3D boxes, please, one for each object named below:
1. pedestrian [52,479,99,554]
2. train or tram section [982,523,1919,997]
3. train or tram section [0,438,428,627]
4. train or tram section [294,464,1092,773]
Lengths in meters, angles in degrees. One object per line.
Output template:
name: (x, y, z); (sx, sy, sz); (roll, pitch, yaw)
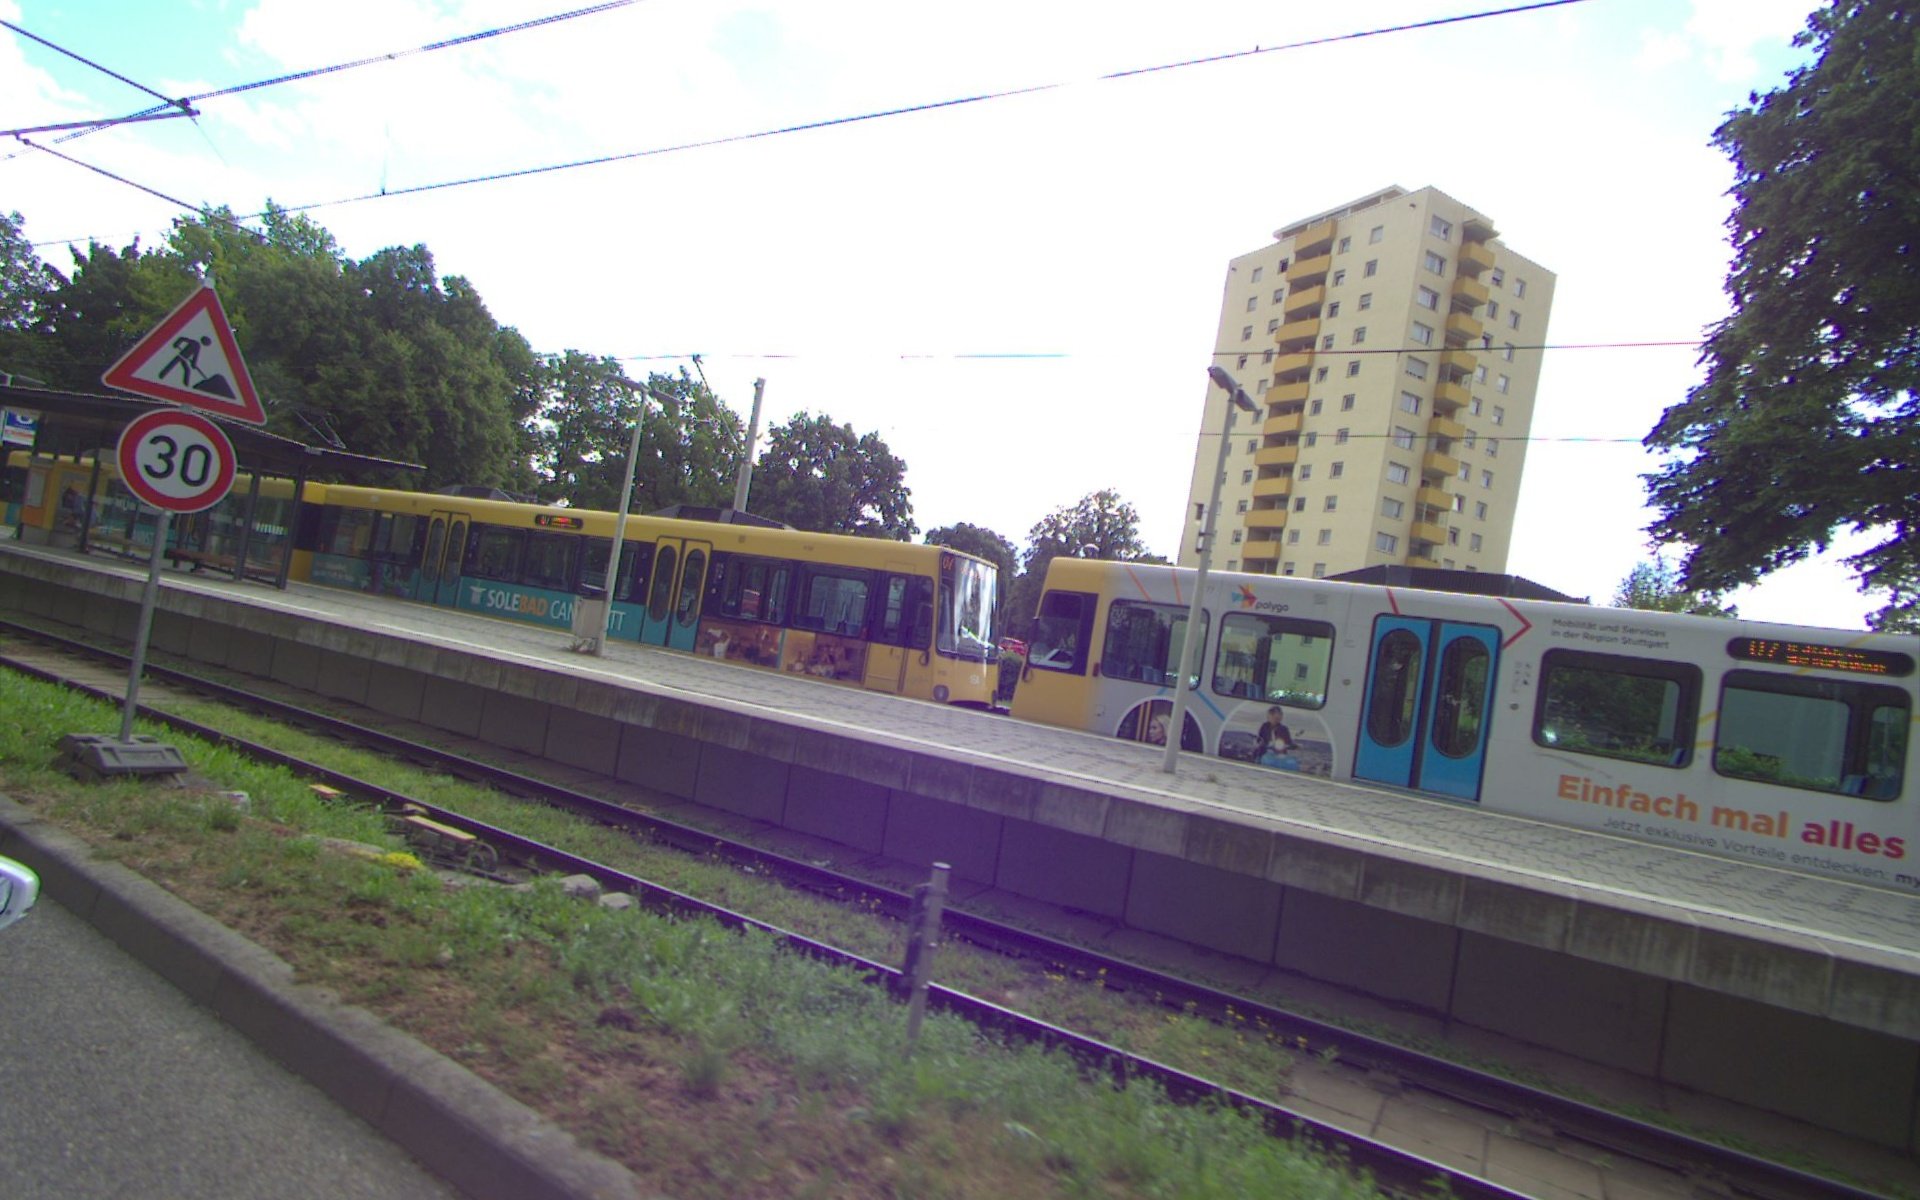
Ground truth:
pedestrian: (-20.093, -1.890, 22.854); (0.621, 1.591, 0.657); (9, -2, -44)
train or tram section: (9.136, 1.911, 11.272); (18.621, 3.839, 2.821); (7, -3, 33)
train or tram section: (-23.600, -2.356, 30.229); (19.173, 3.627, 2.824); (8, -3, 28)
train or tram section: (-6.926, -0.174, 21.025); (19.178, 3.777, 2.823); (7, -3, 29)
